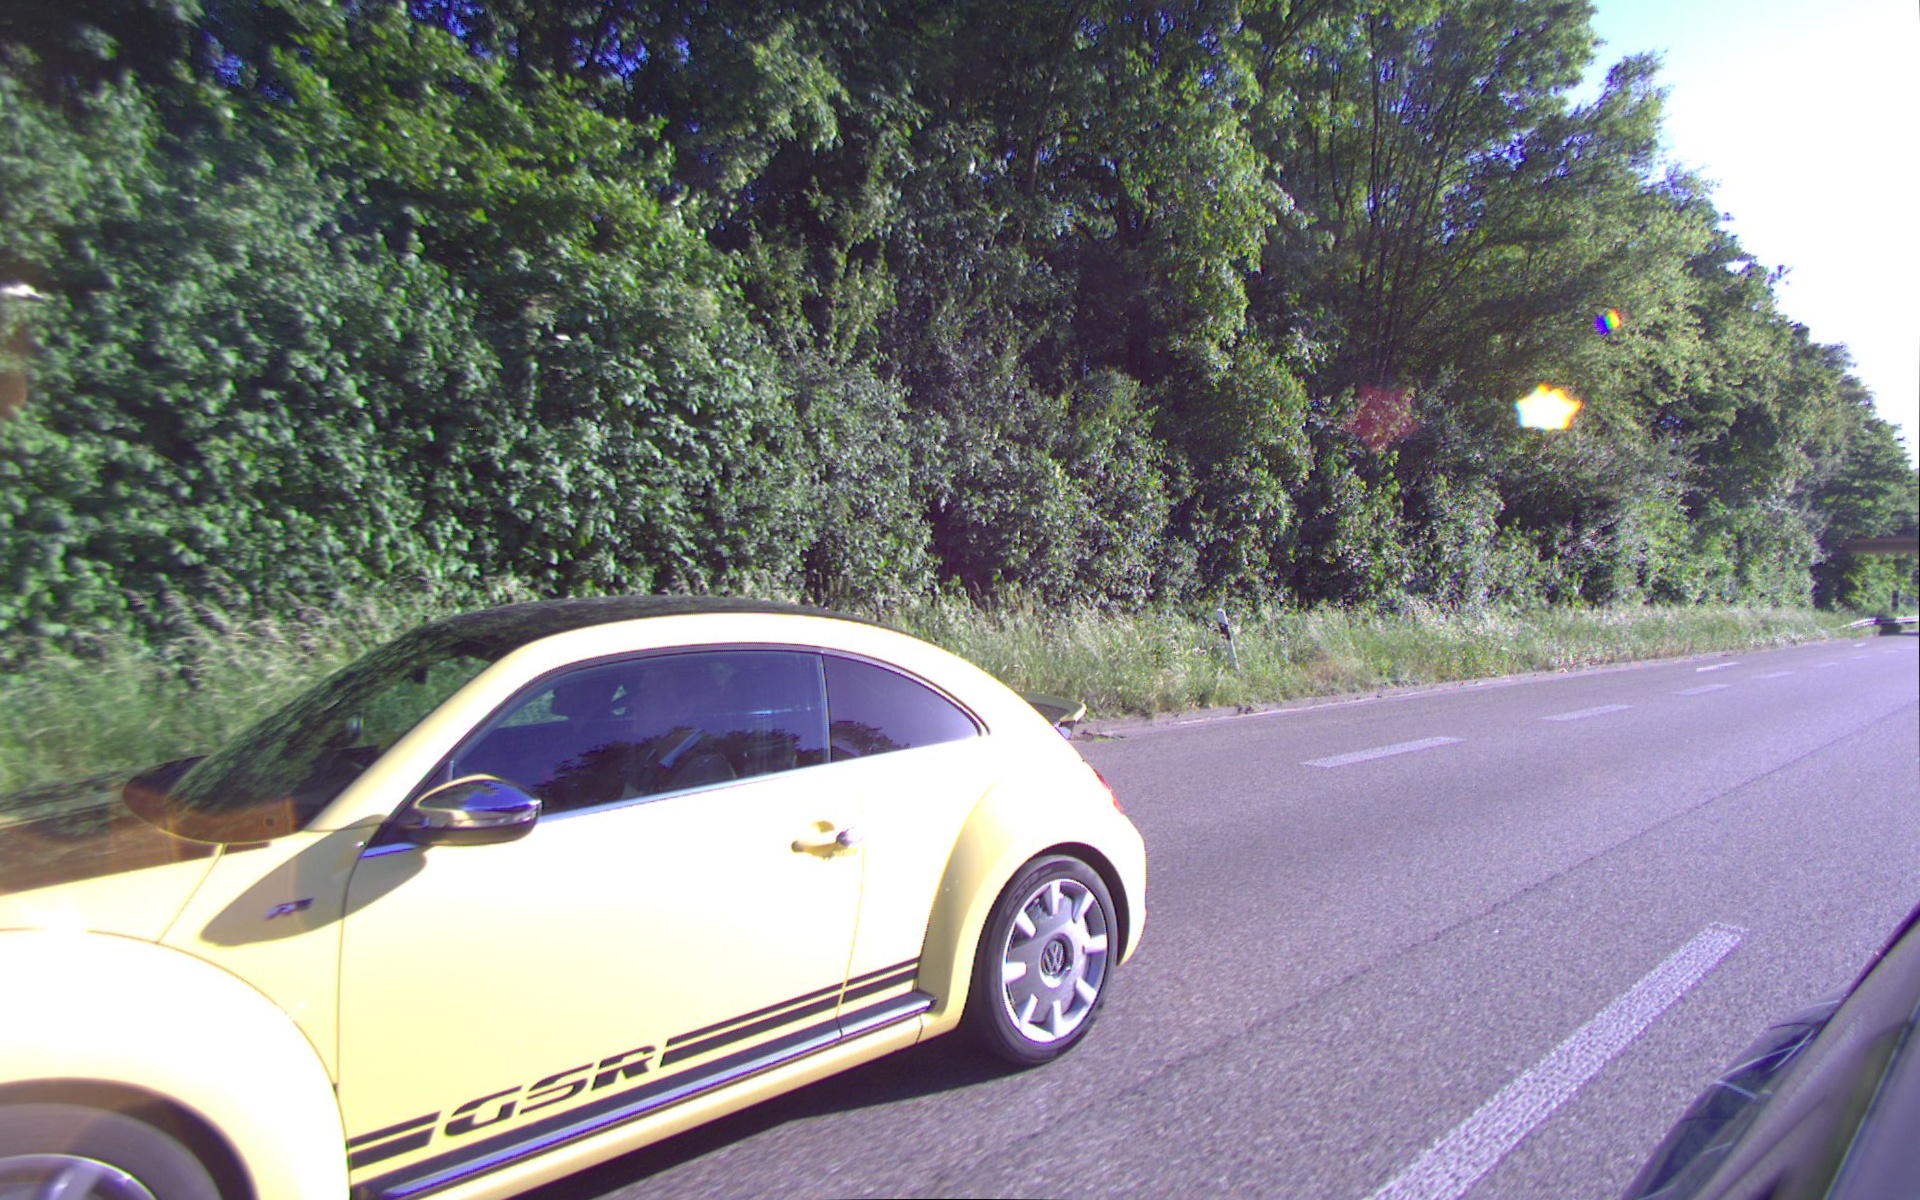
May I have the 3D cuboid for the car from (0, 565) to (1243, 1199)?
[{"bbox_3d":[-1.113,0.674,3.186,4.281,1.480,1.882,0,0,-42],"label":"car"}]
